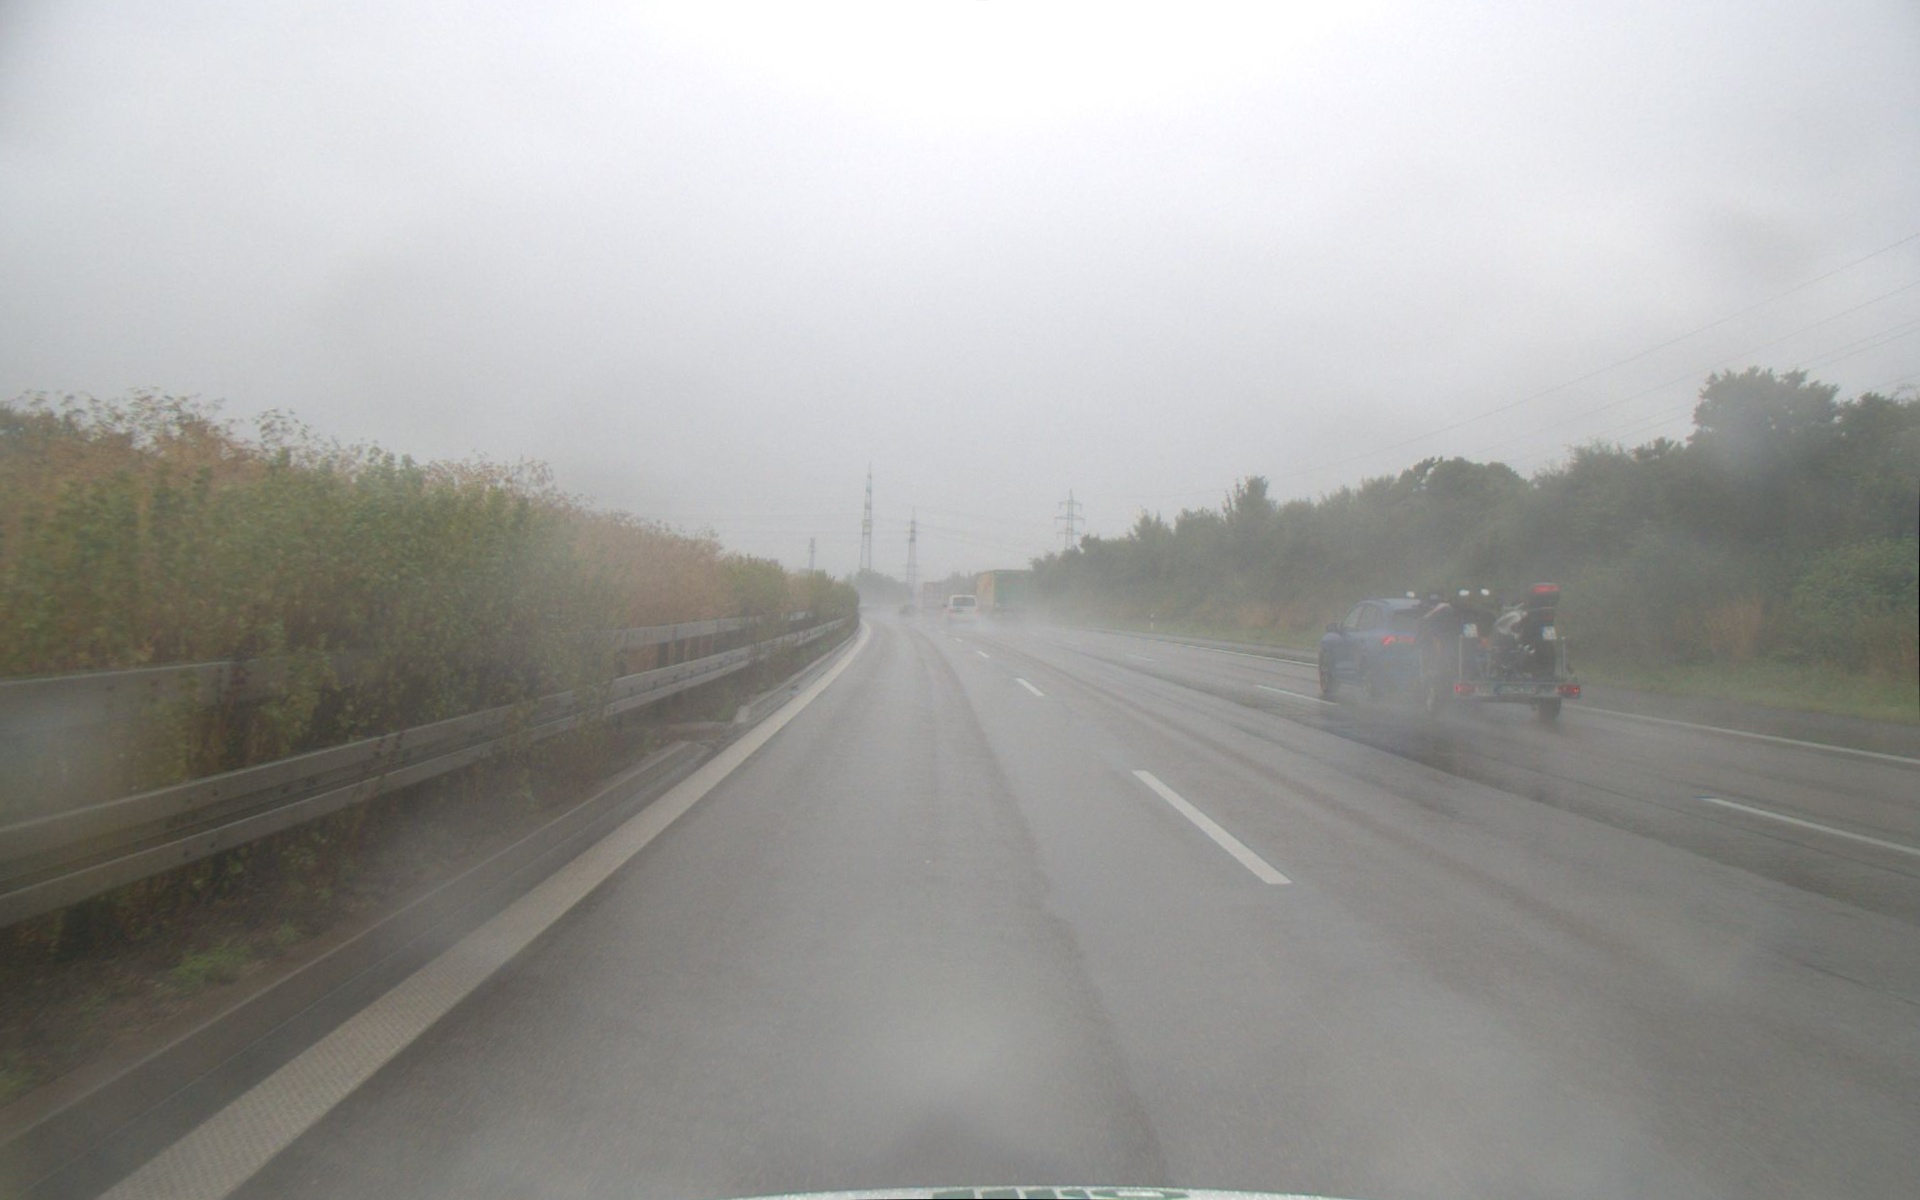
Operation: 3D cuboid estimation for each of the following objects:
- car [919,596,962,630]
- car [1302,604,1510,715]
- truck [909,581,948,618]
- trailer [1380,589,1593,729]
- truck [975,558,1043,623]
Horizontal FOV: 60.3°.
[{"bbox_3d":[-1.226,0.776,102.756,1.958,2.049,3.988,1,0,-12],"label":"car"},{"bbox_3d":[7.224,0.933,27.360,1.953,1.647,4.990,1,-1,-2],"label":"car"},{"bbox_3d":[-3.818,-0.053,198.921,3.174,4.387,8.814,1,0,-11],"label":"truck"},{"bbox_3d":[7.301,0.791,23.237,1.939,1.816,3.188,1,-1,-1],"label":"trailer"},{"bbox_3d":[3.636,-0.627,128.745,4.105,4.711,16.096,1,-1,-2],"label":"truck"}]
